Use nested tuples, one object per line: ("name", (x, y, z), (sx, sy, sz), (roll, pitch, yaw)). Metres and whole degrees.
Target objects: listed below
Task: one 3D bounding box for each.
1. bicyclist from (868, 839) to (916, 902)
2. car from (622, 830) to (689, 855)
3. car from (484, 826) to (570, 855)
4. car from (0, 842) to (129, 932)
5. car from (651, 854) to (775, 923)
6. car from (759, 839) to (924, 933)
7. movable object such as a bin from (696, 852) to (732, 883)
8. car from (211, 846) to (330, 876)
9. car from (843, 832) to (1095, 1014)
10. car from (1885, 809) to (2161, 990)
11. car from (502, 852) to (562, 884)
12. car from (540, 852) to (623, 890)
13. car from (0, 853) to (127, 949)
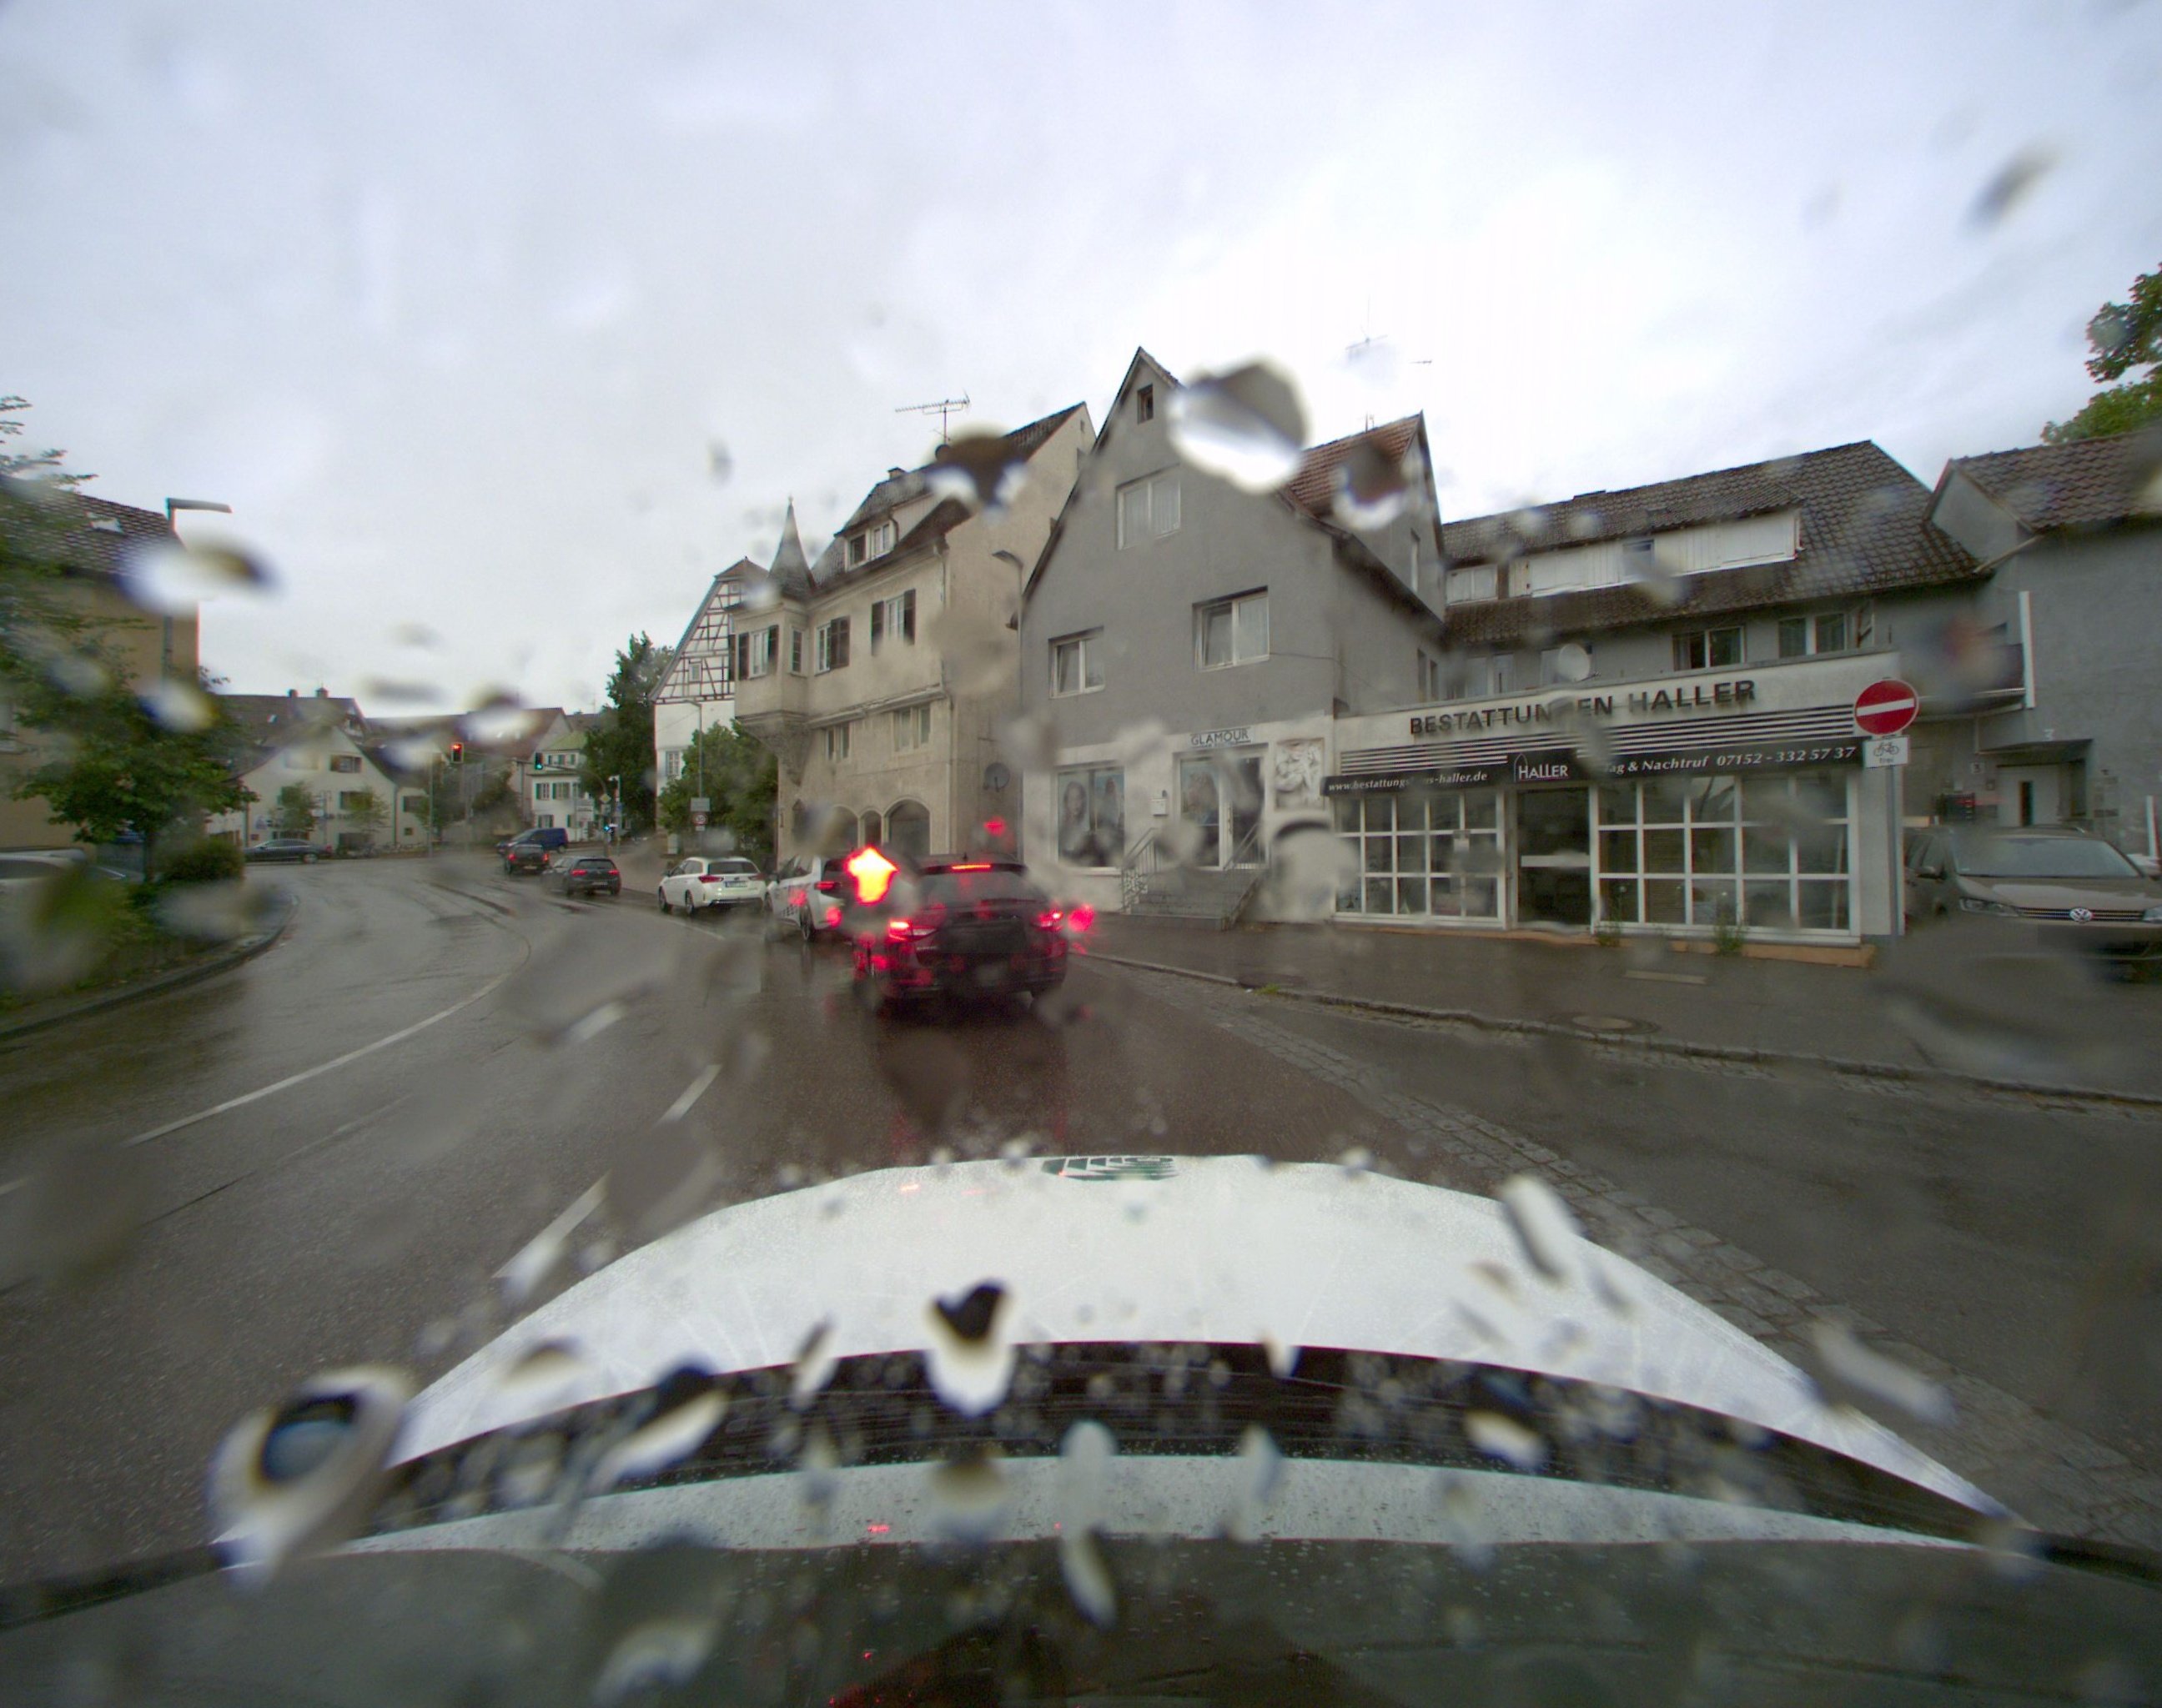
("bicyclist", (-4.634, 0.383, 19.937), (1.017, 1.517, 0.689), (1, 1, 43))
("car", (-34.013, -0.936, 65.239), (1.976, 1.881, 4.403), (1, 1, 24))
("car", (-37.422, -0.913, 55.137), (1.975, 1.881, 4.403), (0, 0, 25))
("car", (-25.618, 0.872, 18.343), (1.938, 1.824, 4.967), (2, 7, 28))
("car", (-9.692, 0.810, 21.298), (1.901, 1.596, 4.275), (0, 0, -40))
("car", (-4.490, 0.485, 14.878), (1.869, 1.473, 3.959), (0, 0, -33))
("movable object such as a bin", (-15.713, 0.567, 34.897), (1.164, 1.313, 1.173), (0, 0, -38))
("car", (-45.379, 0.376, 45.666), (1.839, 1.546, 4.523), (-2, 0, 38))
("car", (-1.485, 0.537, 8.872), (1.893, 1.448, 4.328), (0, 0, -20))
("car", (12.025, 0.402, 10.429), (1.974, 1.771, 4.027), (0, 4, 38))
("car", (-27.521, 0.672, 40.942), (1.587, 1.524, 3.412), (0, 0, -18))
("car", (-18.721, 0.586, 30.466), (2.011, 1.302, 3.953), (0, 0, -41))
("car", (-19.440, 0.807, 13.872), (1.977, 1.629, 3.664), (0, 0, 20))
